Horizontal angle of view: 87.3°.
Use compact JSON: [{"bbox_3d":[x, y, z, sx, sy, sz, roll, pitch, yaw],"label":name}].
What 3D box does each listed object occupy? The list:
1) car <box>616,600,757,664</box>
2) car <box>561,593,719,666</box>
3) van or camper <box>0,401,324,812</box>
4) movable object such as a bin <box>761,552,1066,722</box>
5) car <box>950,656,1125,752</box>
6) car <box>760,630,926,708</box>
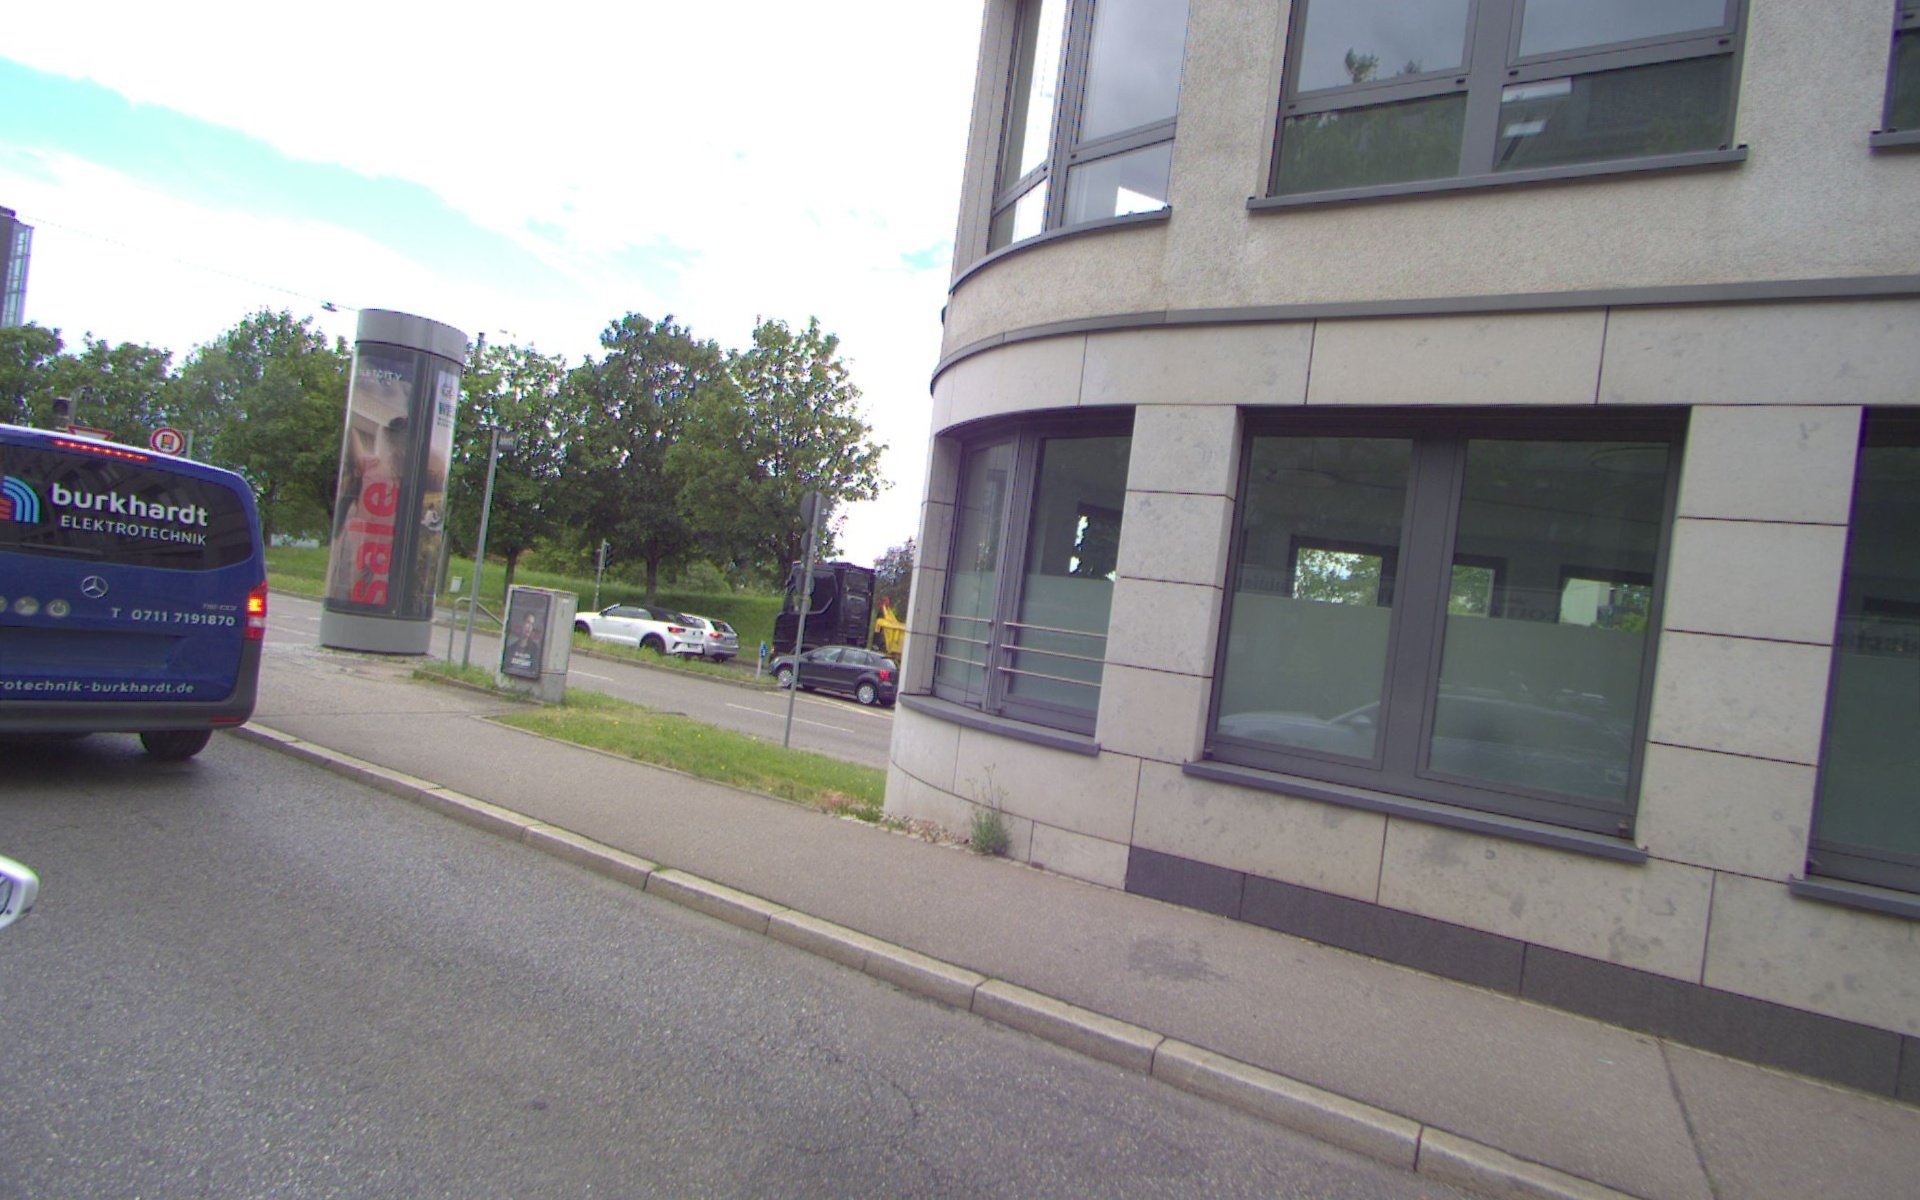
[{"bbox_3d":[-9.110,1.081,33.609,3.925,1.469,2.003,8,-3,19],"label":"car"},{"bbox_3d":[-9.503,0.894,29.981,3.925,1.469,2.003,8,-3,19],"label":"car"},{"bbox_3d":[-6.395,-0.164,6.396,4.949,1.934,1.862,7,-1,32],"label":"van or camper"},{"bbox_3d":[-1.403,1.053,30.571,8.410,3.949,2.870,7,-1,18],"label":"movable object such as a bin"},{"bbox_3d":[2.011,2.633,25.719,3.925,1.723,2.003,8,-3,19],"label":"car"},{"bbox_3d":[-3.204,1.913,27.740,3.925,1.469,2.003,8,-3,19],"label":"car"}]
